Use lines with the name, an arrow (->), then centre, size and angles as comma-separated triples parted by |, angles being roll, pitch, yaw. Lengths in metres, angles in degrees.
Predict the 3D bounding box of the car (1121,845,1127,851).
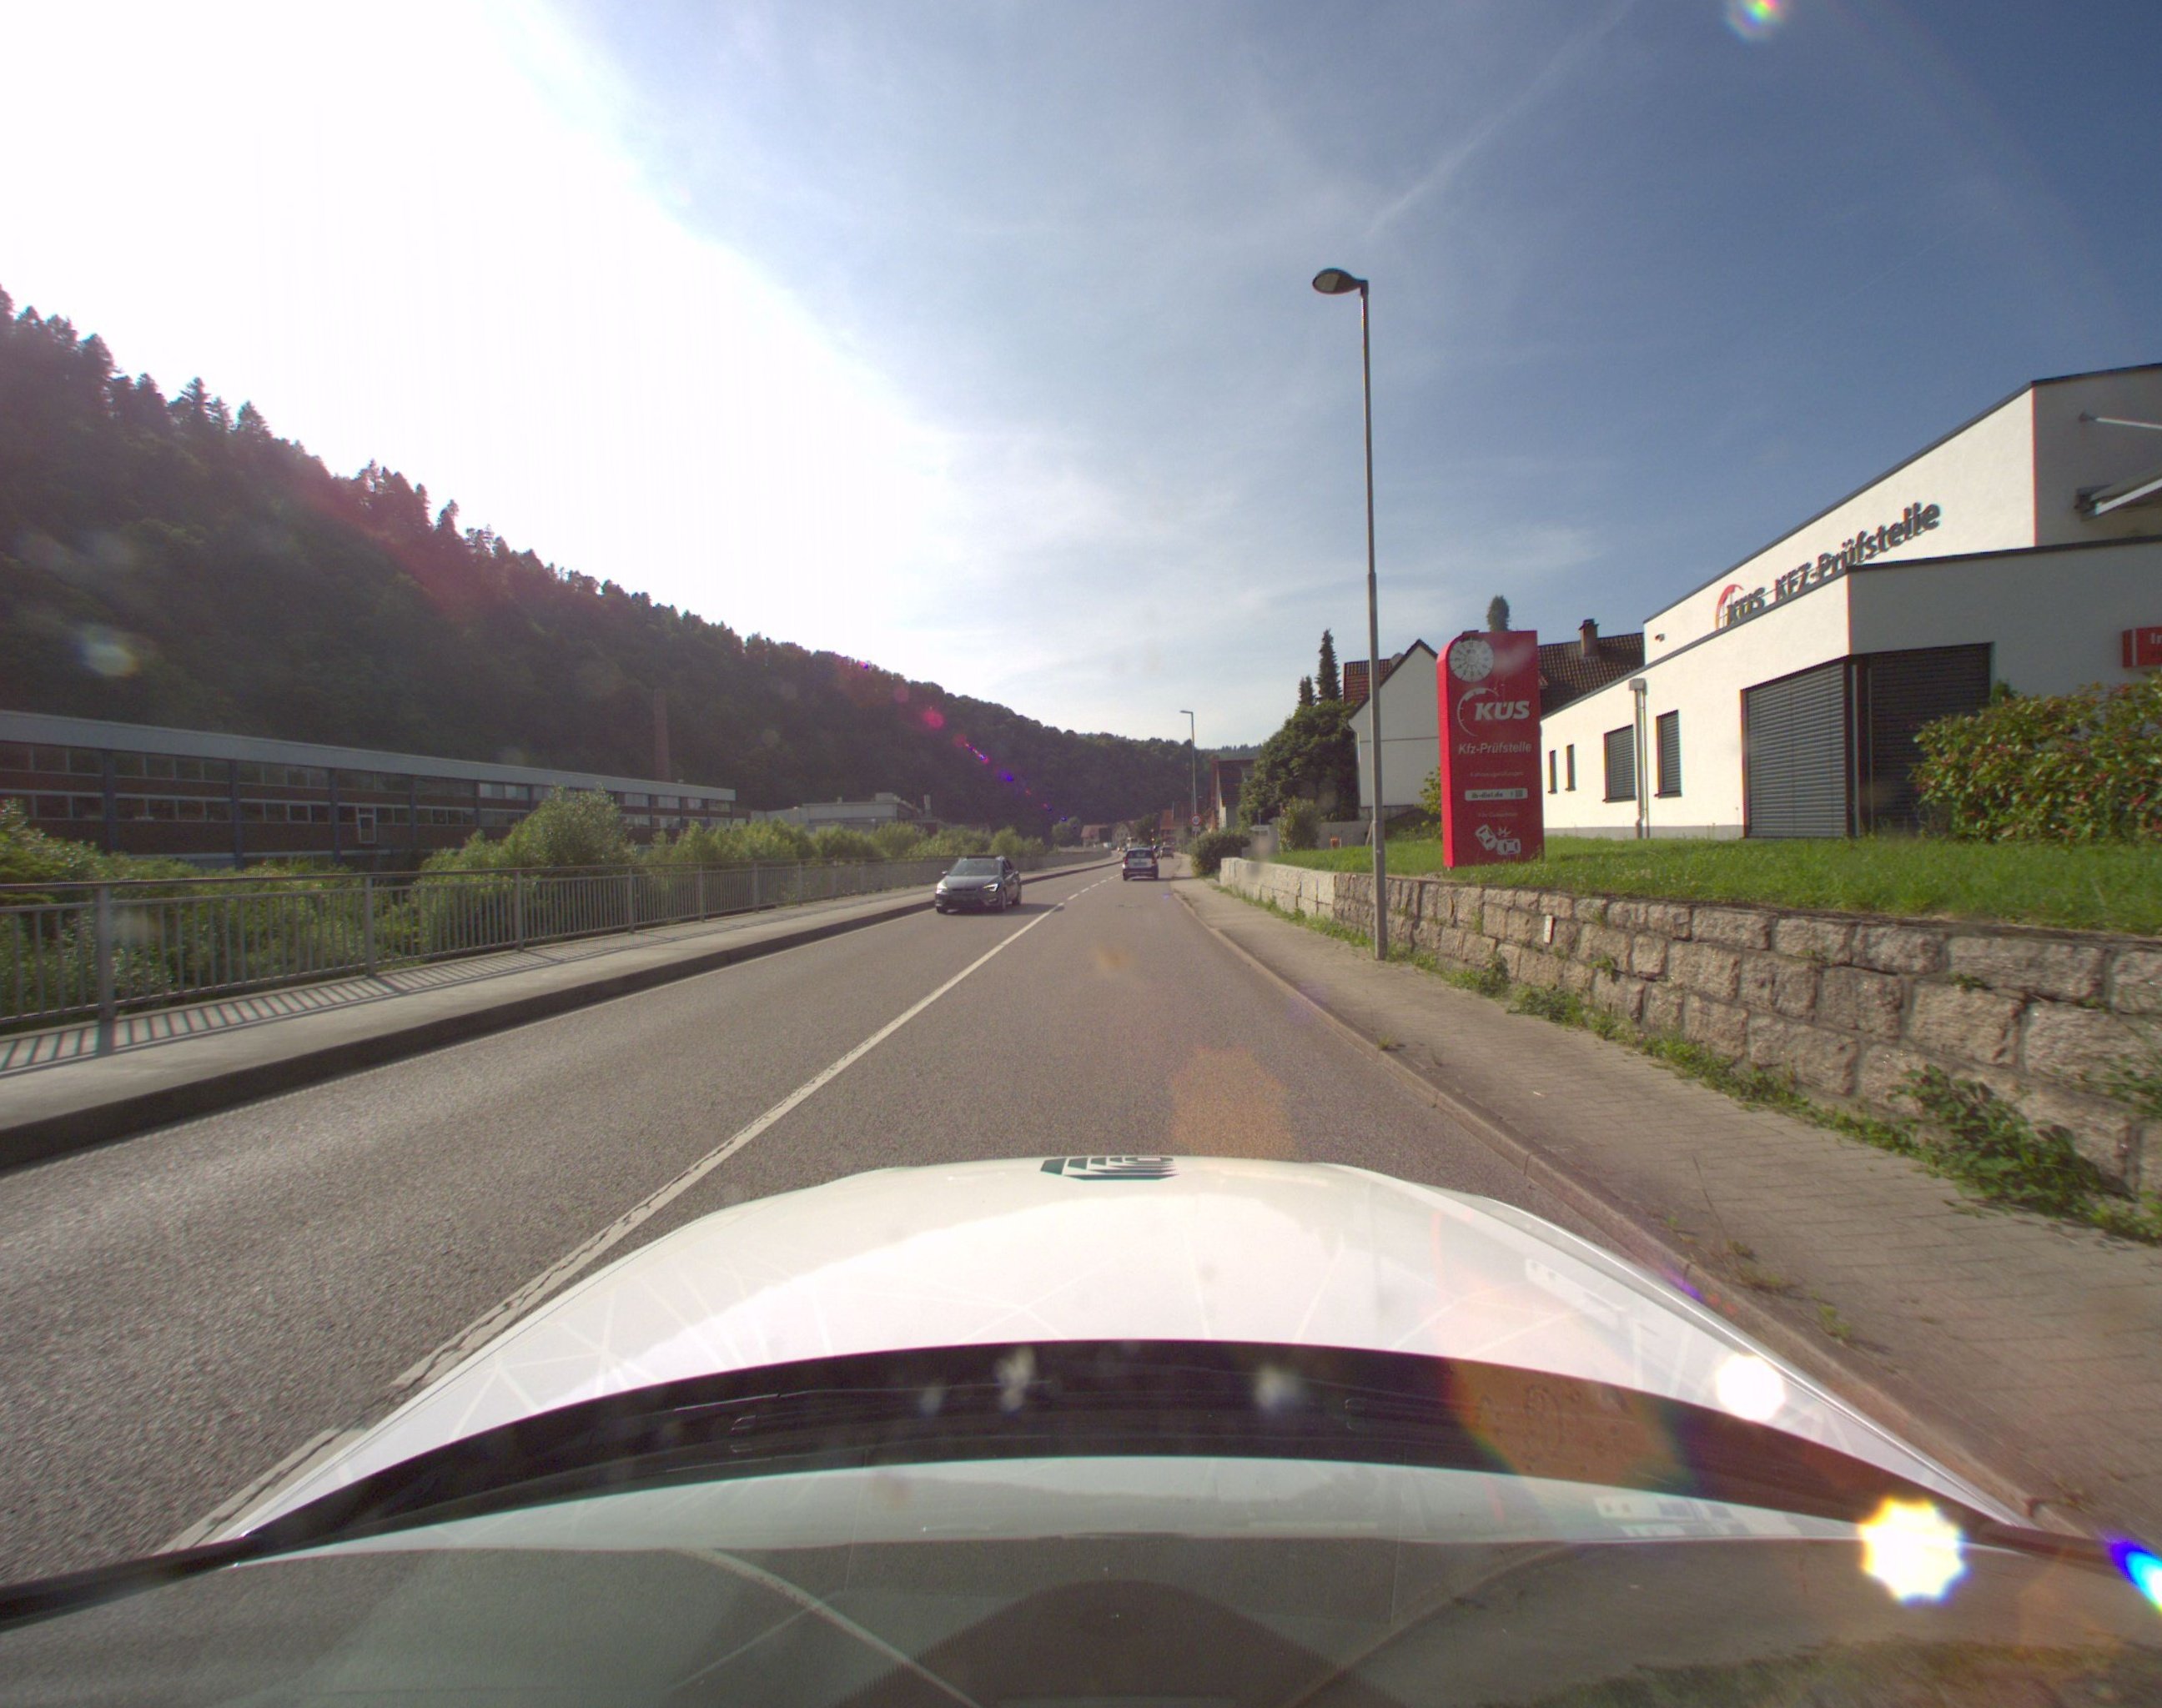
car -> 10.603, -1.576, 201.587 | 1.428, 1.383, 3.136 | -2, 1, 2

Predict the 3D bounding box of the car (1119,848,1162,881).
car -> 3.148, 0.515, 42.466 | 1.850, 1.544, 4.384 | -2, 0, 8

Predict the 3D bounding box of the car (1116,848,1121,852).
car -> 10.808, -1.161, 231.776 | 1.358, 1.278, 3.085 | -2, -1, 3

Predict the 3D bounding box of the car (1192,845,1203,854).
car -> 16.948, -0.713, 118.414 | 1.535, 1.216, 3.286 | -2, -1, 9

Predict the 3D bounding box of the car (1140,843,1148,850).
car -> 14.984, -1.780, 193.950 | 1.665, 1.752, 3.455 | -2, 1, 7

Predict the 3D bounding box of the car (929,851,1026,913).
car -> -2.719, 0.707, 22.520 | 1.806, 1.484, 4.801 | -2, -1, 3

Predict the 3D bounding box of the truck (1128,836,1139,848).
truck -> 14.456, -3.337, 224.861 | 2.717, 3.374, 6.485 | -2, 1, 3

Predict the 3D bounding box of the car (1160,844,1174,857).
car -> 10.736, -0.476, 101.321 | 1.614, 1.541, 3.284 | -2, -1, 6
